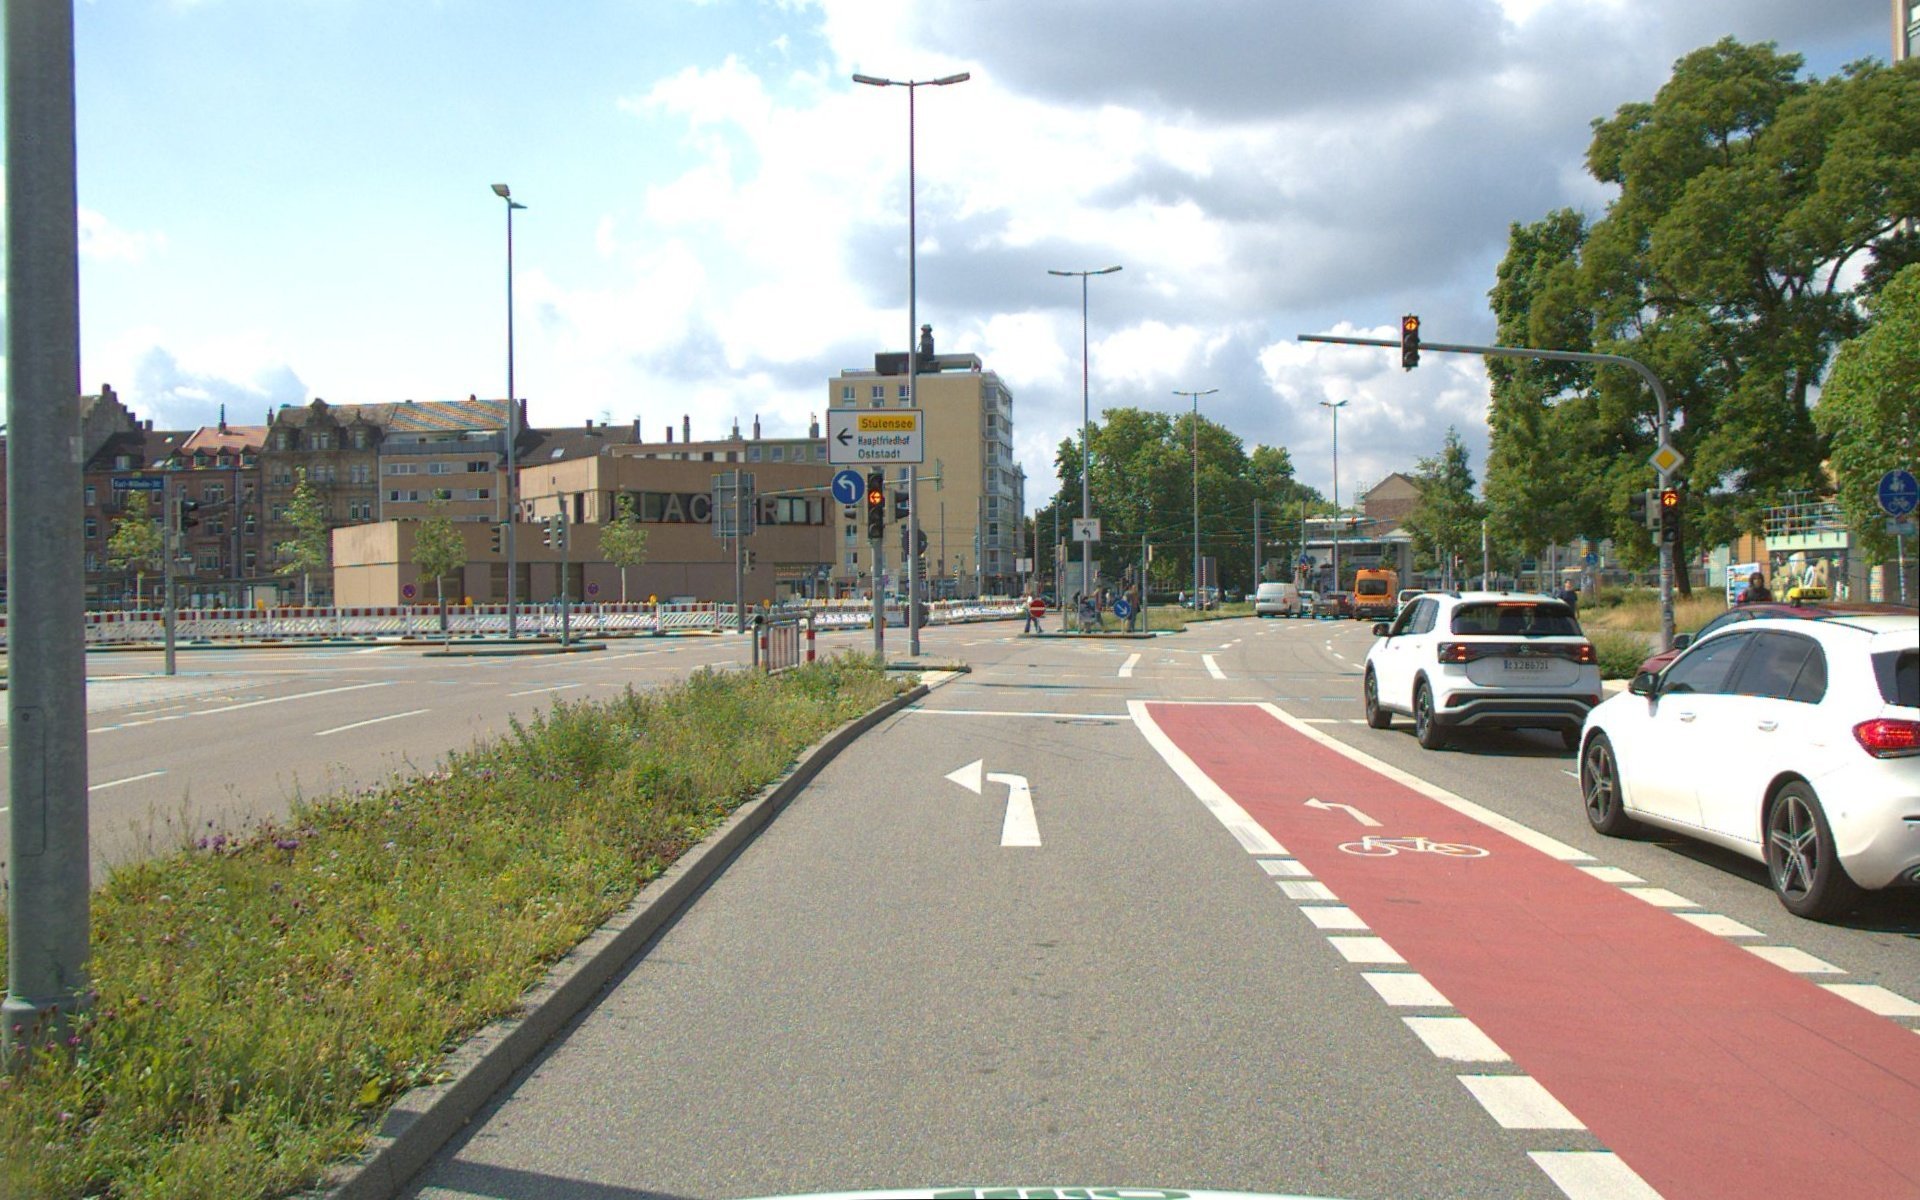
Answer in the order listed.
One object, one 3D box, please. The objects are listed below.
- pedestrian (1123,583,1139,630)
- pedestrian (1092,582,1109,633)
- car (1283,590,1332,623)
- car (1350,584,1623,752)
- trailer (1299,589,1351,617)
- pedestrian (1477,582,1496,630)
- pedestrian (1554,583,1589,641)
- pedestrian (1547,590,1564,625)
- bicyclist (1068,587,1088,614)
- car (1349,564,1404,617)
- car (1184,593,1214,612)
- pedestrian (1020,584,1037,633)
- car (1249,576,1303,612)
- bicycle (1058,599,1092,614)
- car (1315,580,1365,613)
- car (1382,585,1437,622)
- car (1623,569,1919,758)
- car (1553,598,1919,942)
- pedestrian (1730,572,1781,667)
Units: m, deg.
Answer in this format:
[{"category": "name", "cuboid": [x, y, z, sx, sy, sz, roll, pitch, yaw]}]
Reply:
[{"category": "pedestrian", "cuboid": [6.215, 0.236, 59.953, 0.513, 1.713, 0.624, -1, 0, 11]}, {"category": "pedestrian", "cuboid": [4.905, 0.268, 57.766, 0.513, 1.764, 0.624, -1, 0, 11]}, {"category": "car", "cuboid": [21.756, 0.382, 103.390, 1.952, 1.972, 4.636, -1, 0, 25]}, {"category": "car", "cuboid": [5.497, 0.634, 17.800, 1.754, 1.566, 4.012, 1, 0, 2]}, {"category": "trailer", "cuboid": [20.624, 0.171, 93.256, 1.954, 1.503, 3.996, -1, 0, 26]}, {"category": "pedestrian", "cuboid": [19.573, 0.236, 61.439, 0.646, 1.764, 0.578, -1, 0, 17]}, {"category": "pedestrian", "cuboid": [16.245, 0.311, 43.929, 0.753, 1.534, 0.552, 0, 0, 6]}, {"category": "pedestrian", "cuboid": [31.152, 0.405, 86.524, 0.772, 1.815, 0.666, -1, 0, 25]}, {"category": "bicyclist", "cuboid": [8.671, 0.026, 121.509, 1.194, 1.943, 0.858, -1, 0, 22]}, {"category": "car", "cuboid": [23.059, -0.536, 91.436, 2.087, 2.829, 4.636, -1, 0, 25]}, {"category": "car", "cuboid": [17.400, 0.168, 120.519, 1.754, 1.412, 4.230, 0, 0, 14]}, {"category": "pedestrian", "cuboid": [2.483, 0.299, 59.789, 0.513, 1.764, 0.624, -1, 0, 11]}, {"category": "car", "cuboid": [18.371, -0.364, 95.906, 1.966, 2.001, 4.636, -1, 0, 25]}, {"category": "bicycle", "cuboid": [8.477, 0.454, 121.577, 2.330, 1.085, 0.858, -1, 0, 22]}, {"category": "car", "cuboid": [22.163, -0.225, 96.485, 1.954, 1.858, 3.996, -1, 0, 26]}, {"category": "car", "cuboid": [23.197, 0.159, 85.254, 1.955, 1.826, 3.996, -1, 0, 27]}, {"category": "car", "cuboid": [8.432, 0.542, 16.871, 1.646, 1.670, 4.463, 0, 0, 1]}, {"category": "car", "cuboid": [5.029, 0.742, 9.407, 1.864, 1.448, 4.386, -1, 1, 2]}, {"category": "pedestrian", "cuboid": [14.993, 0.368, 31.190, 0.726, 1.766, 0.679, -1, 0, 15]}]
